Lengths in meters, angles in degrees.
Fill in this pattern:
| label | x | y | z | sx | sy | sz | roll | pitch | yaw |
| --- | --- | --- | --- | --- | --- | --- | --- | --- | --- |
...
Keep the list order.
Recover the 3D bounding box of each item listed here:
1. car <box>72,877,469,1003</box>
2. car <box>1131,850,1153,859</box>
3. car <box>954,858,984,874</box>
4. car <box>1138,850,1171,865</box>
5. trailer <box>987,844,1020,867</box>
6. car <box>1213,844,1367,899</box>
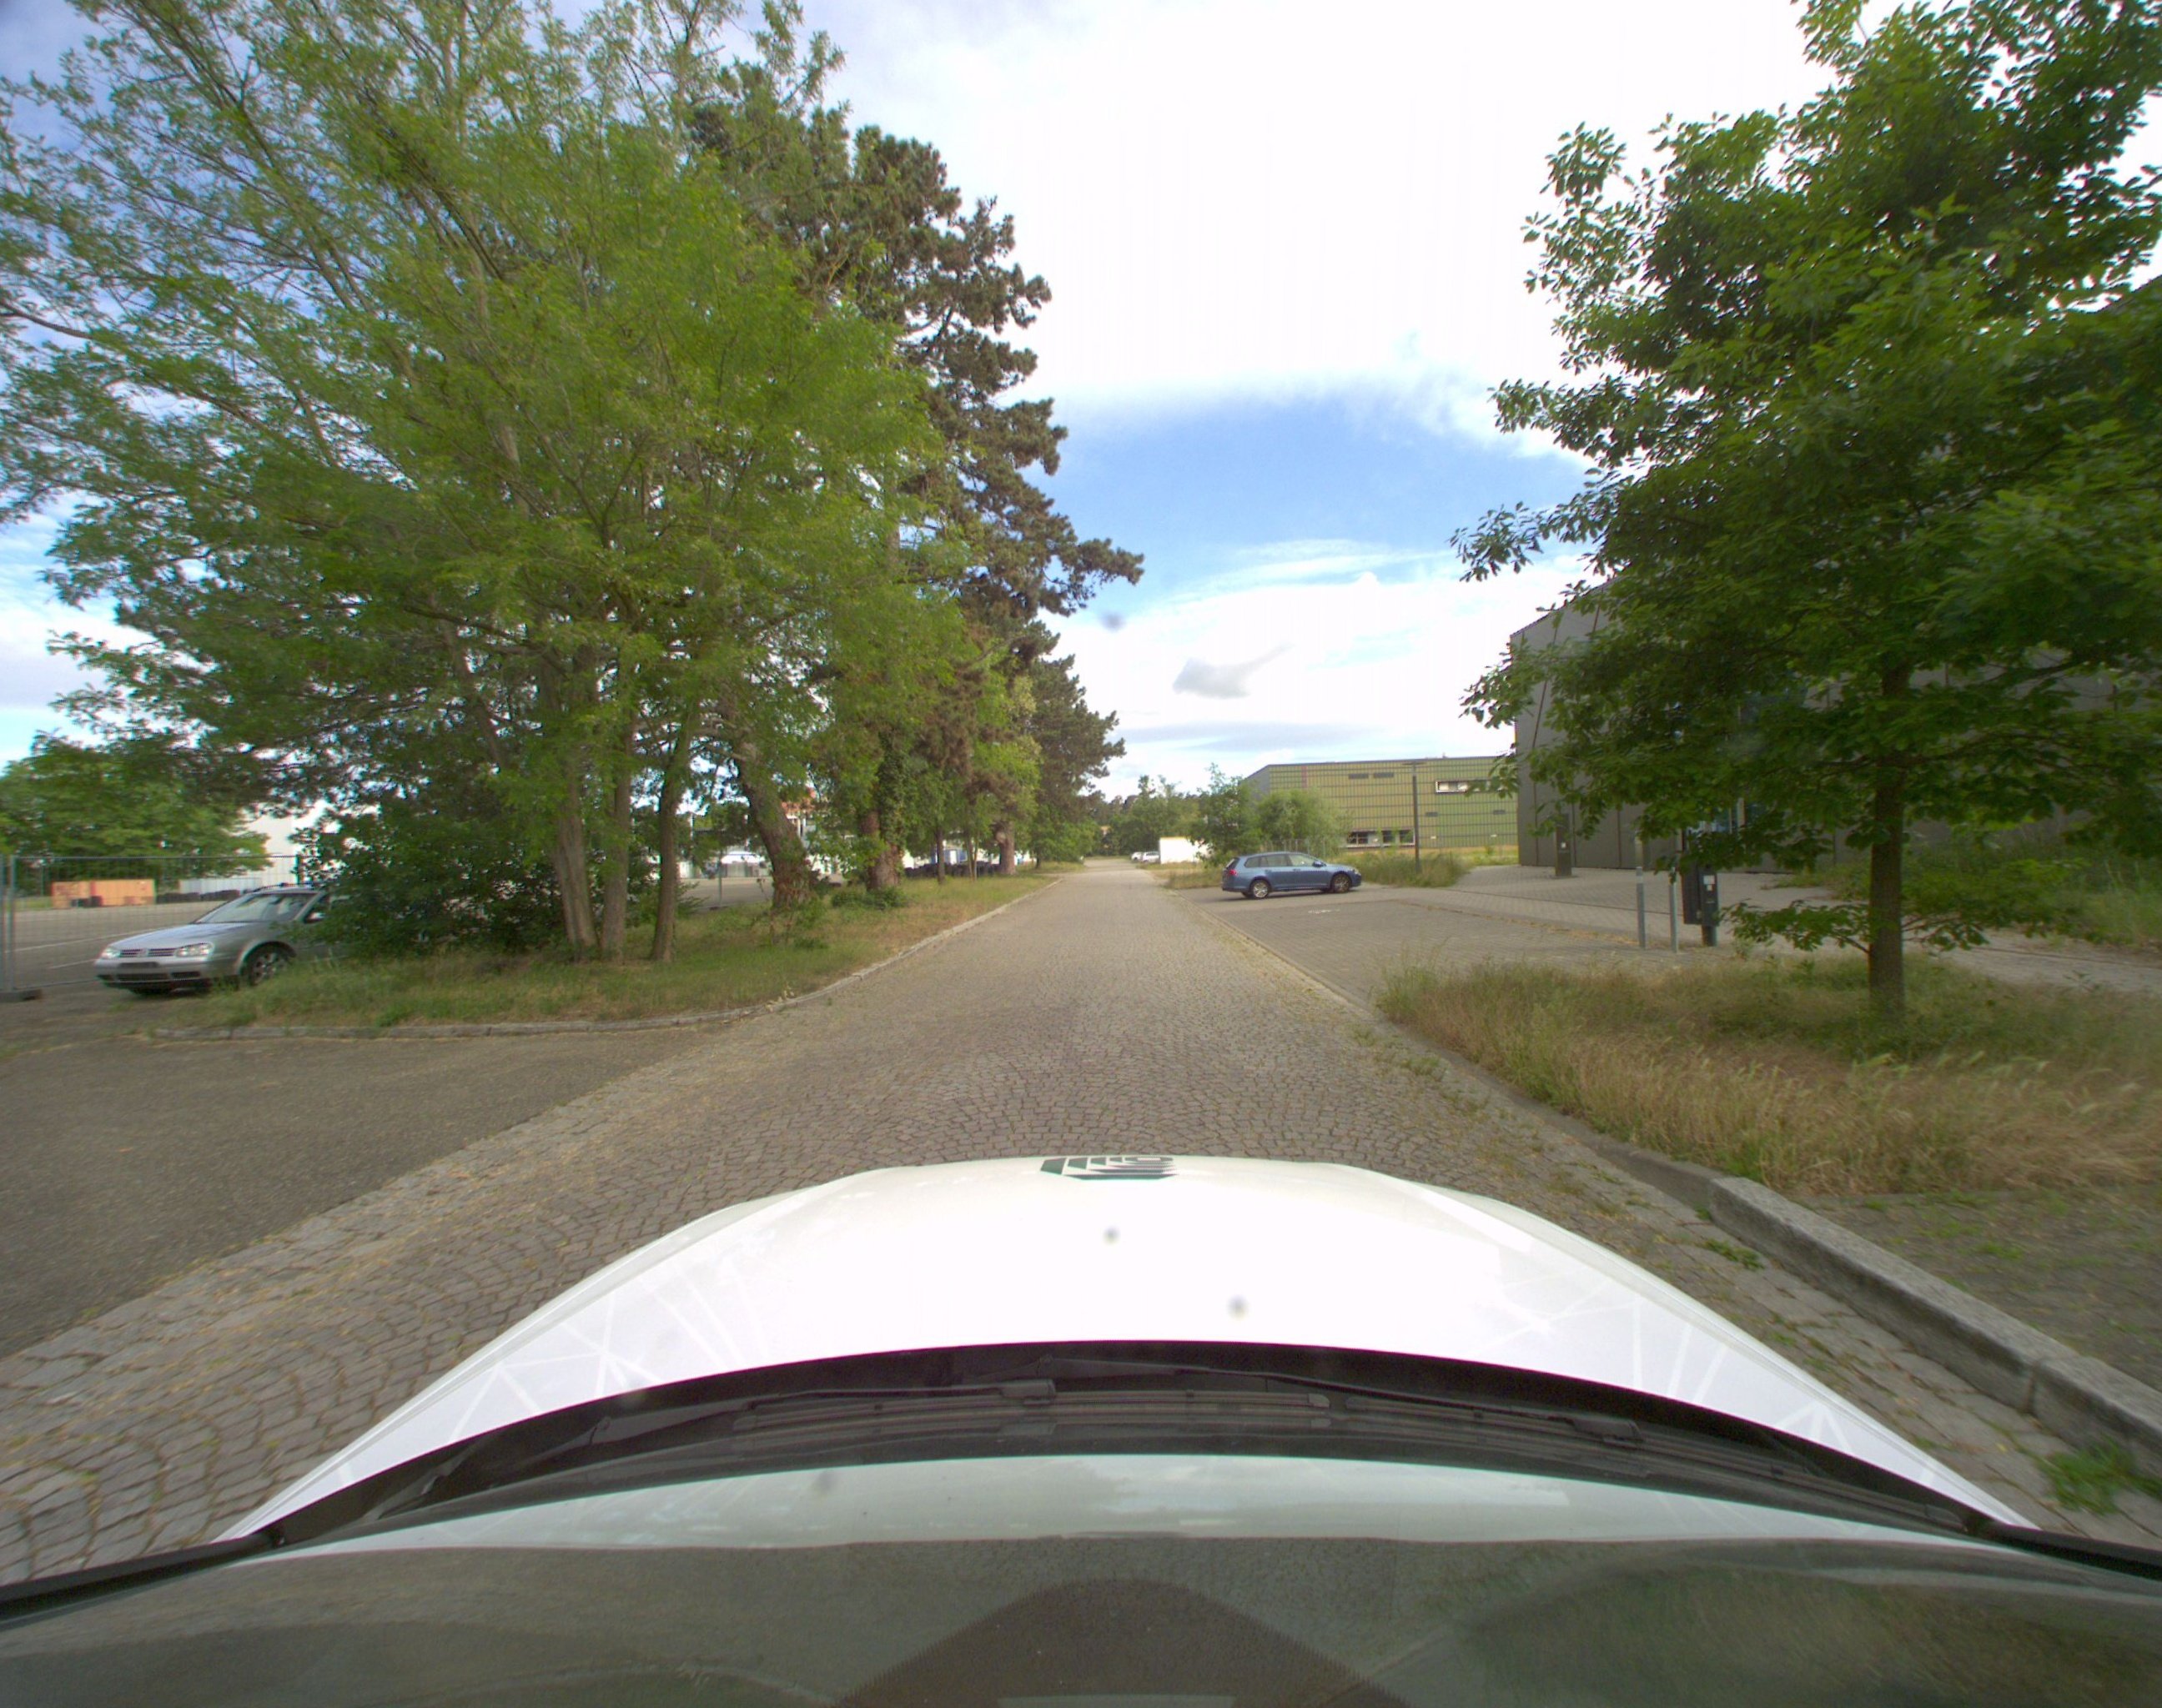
| label | x | y | z | sx | sy | sz | roll | pitch | yaw |
| --- | --- | --- | --- | --- | --- | --- | --- | --- | --- |
| car | -12.167 | 1.173 | 12.774 | 1.710 | 1.438 | 4.466 | -2 | 0 | 0 |
| car | 10.977 | 0.126 | 146.479 | 4.009 | 1.502 | 1.549 | -2 | 0 | 2 |
| car | -10.429 | 1.102 | 76.027 | 1.757 | 1.453 | 3.496 | -2 | 0 | 8 |
| car | 9.069 | 0.426 | 100.338 | 3.838 | 1.654 | 1.685 | -2 | 0 | -1 |
| trailer | -10.740 | 0.197 | 113.519 | 3.145 | 3.067 | 8.793 | -2 | 0 | 4 |
| car | 6.797 | 0.542 | 26.812 | 4.510 | 1.443 | 1.822 | -4 | 0 | -2 |
